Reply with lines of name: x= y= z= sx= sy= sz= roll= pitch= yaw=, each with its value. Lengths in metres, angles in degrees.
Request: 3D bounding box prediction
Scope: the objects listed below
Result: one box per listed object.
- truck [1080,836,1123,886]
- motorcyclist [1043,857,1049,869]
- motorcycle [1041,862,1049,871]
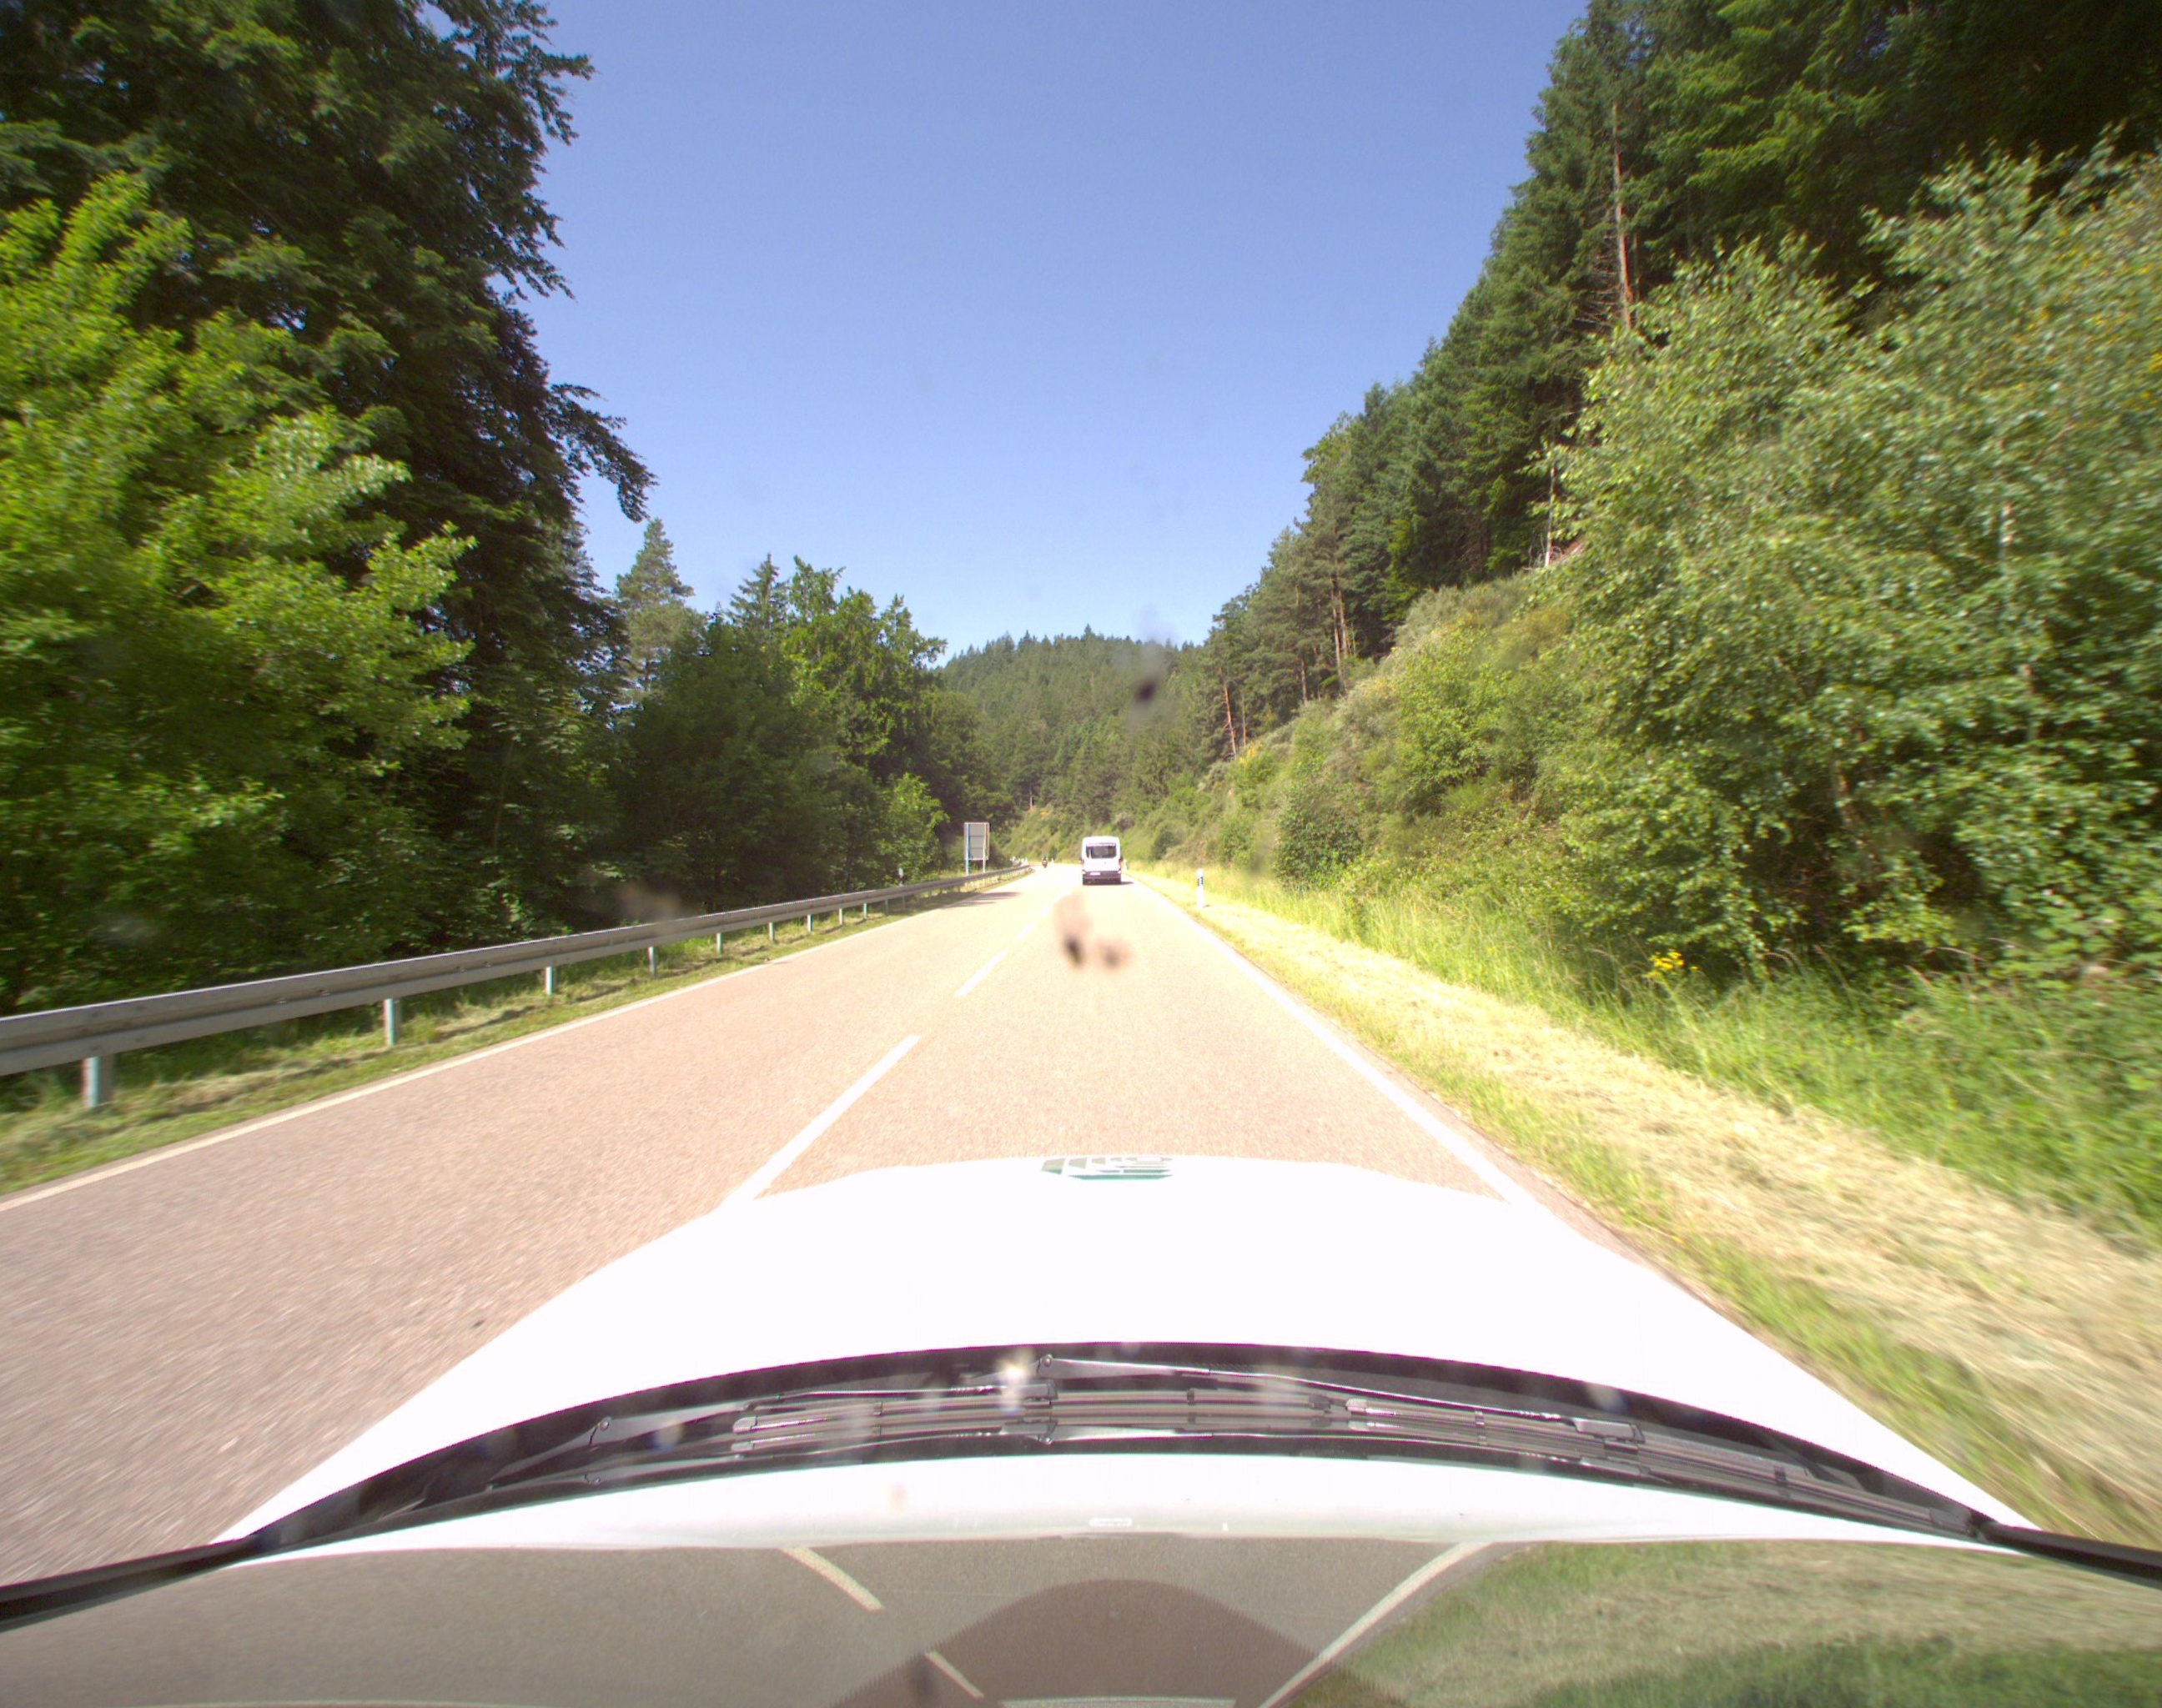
truck: x=1.020 y=0.371 z=43.324 sx=2.077 sy=2.459 sz=4.873 roll=-1 pitch=0 yaw=-1
motorcyclist: x=-4.630 y=1.184 z=107.876 sx=0.656 sy=1.513 sz=0.934 roll=-2 pitch=0 yaw=0
motorcycle: x=-4.738 y=1.645 z=107.951 sx=0.981 sy=1.071 sz=1.963 roll=-1 pitch=0 yaw=0
